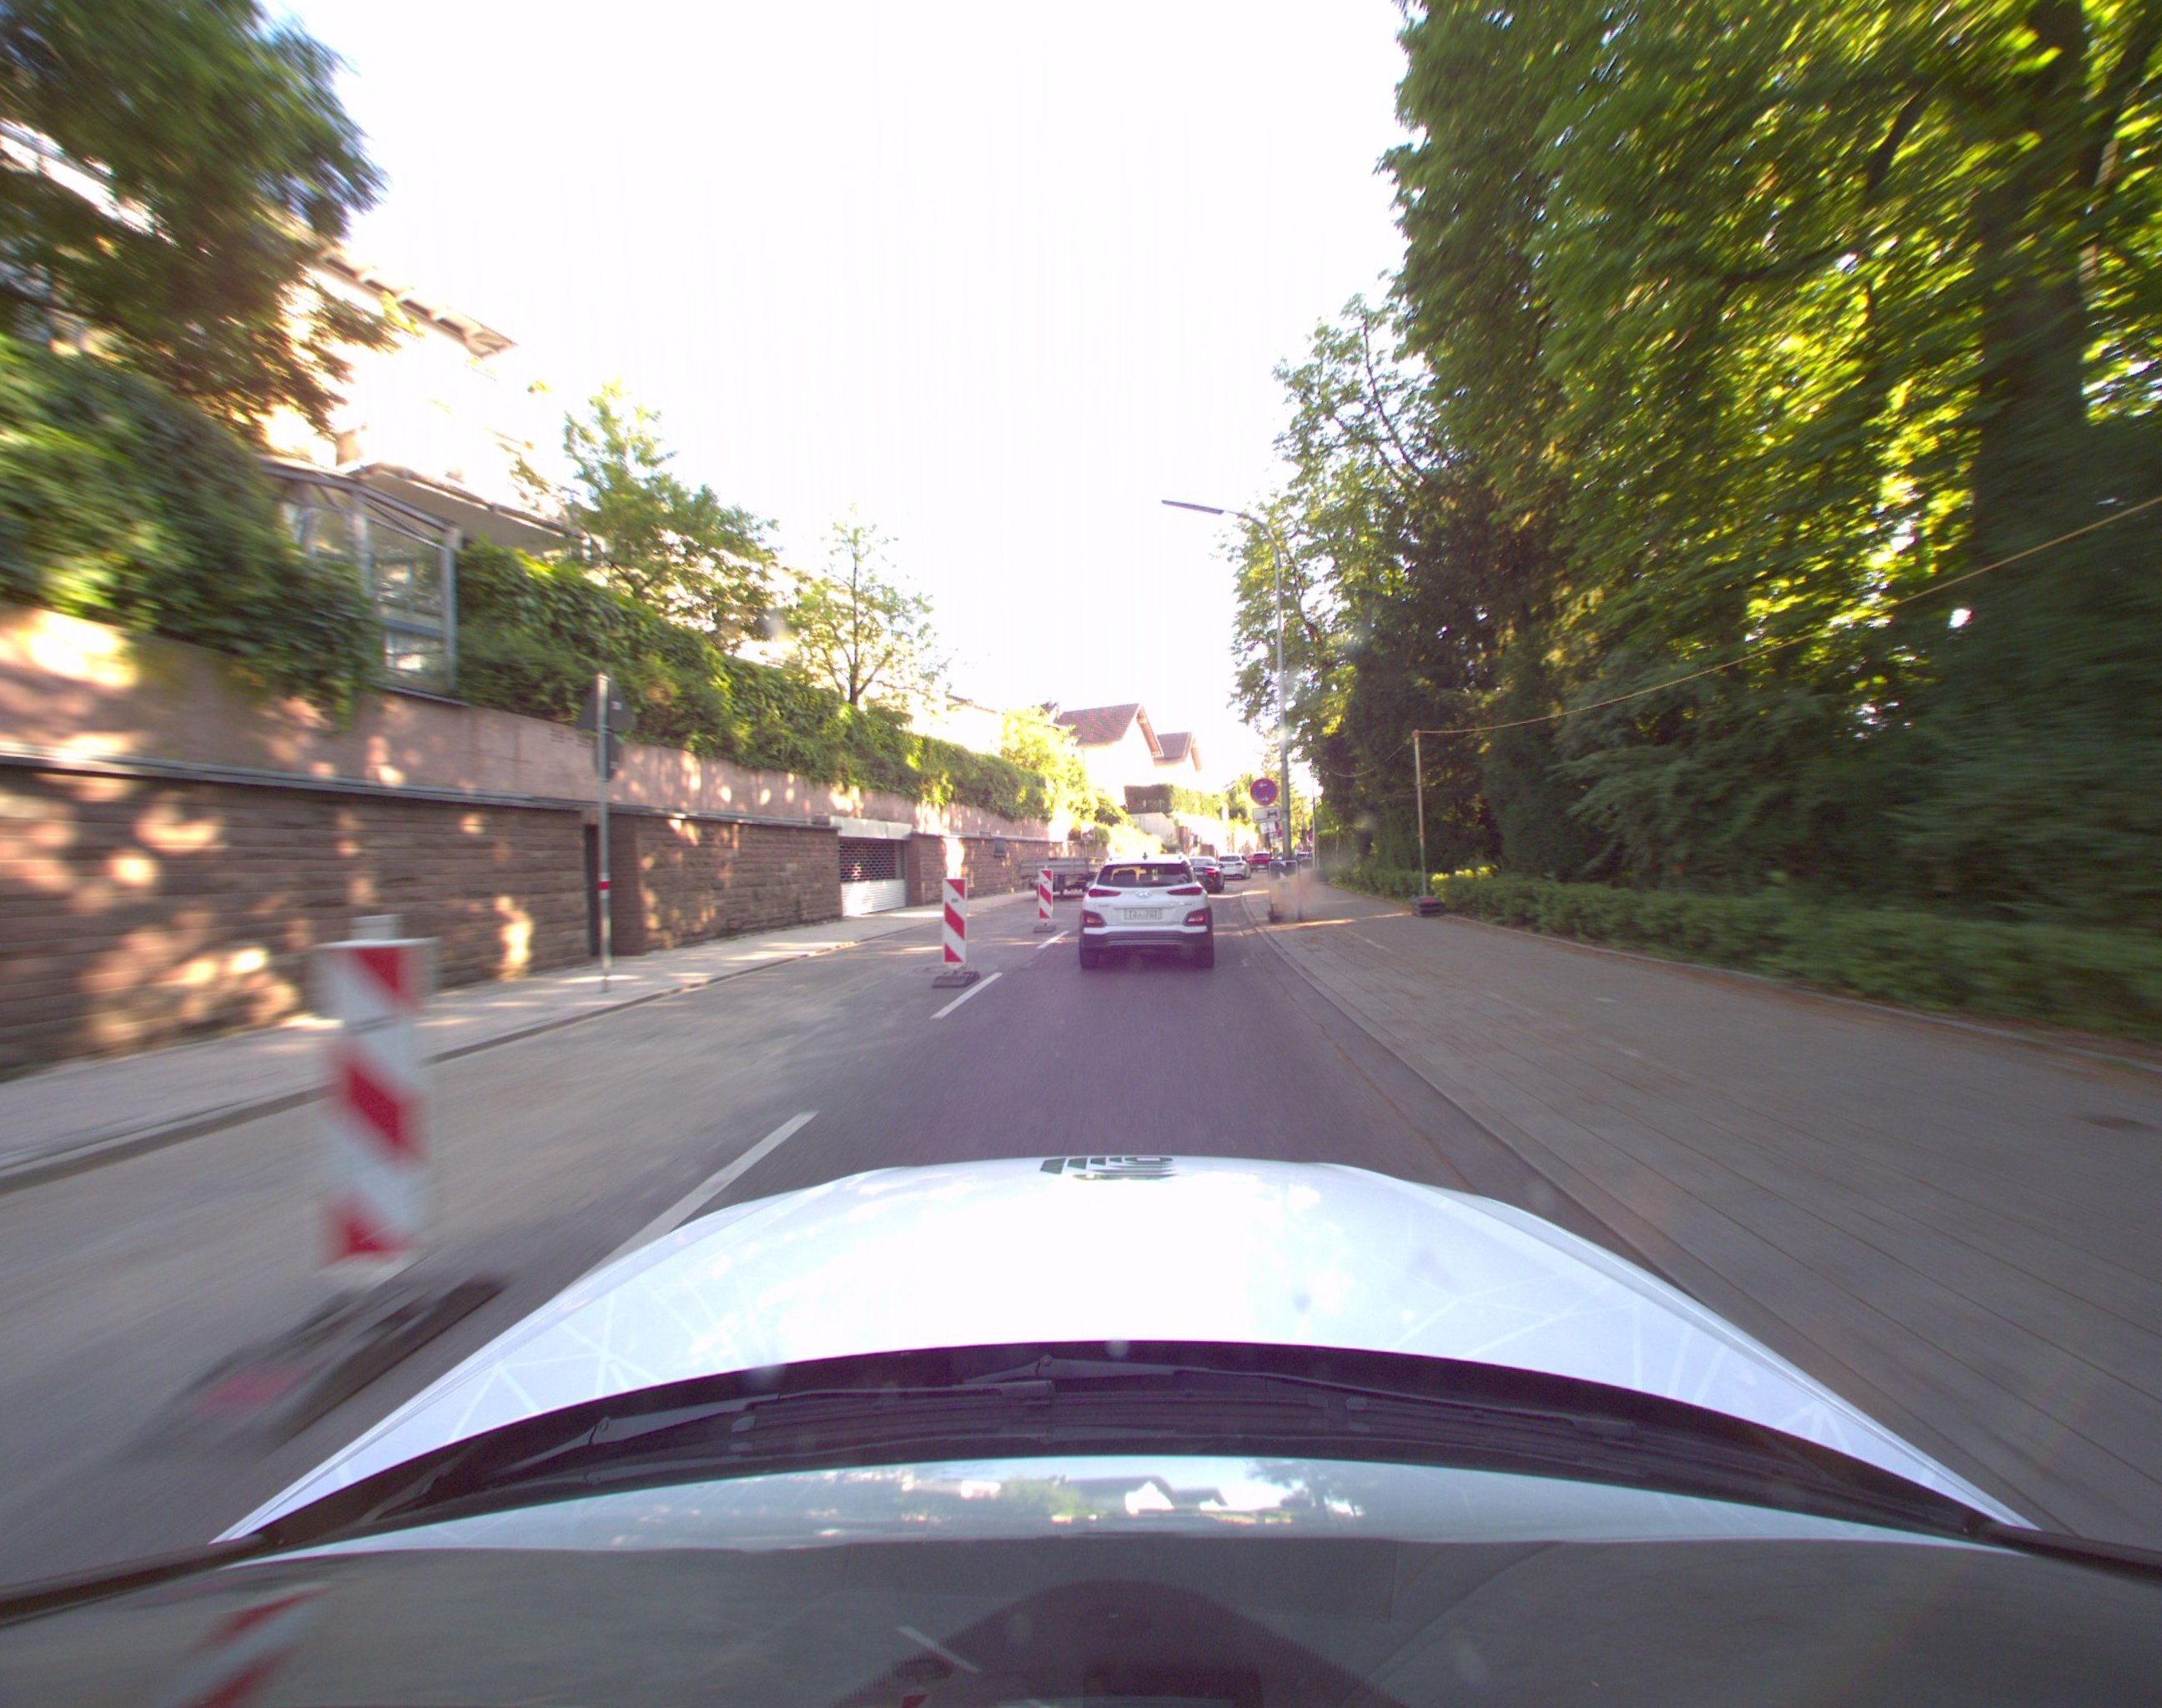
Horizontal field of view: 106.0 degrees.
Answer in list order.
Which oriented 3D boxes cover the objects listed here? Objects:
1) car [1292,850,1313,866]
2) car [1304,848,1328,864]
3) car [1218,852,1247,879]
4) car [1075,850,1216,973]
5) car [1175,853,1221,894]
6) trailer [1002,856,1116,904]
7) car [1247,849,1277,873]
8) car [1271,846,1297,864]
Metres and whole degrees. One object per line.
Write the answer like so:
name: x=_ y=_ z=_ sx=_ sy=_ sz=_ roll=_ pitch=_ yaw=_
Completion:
car: x=24.511 y=0.451 z=90.044 sx=1.678 sy=1.504 sz=3.651 roll=-6 pitch=-1 yaw=23
car: x=22.796 y=0.204 z=78.856 sx=1.778 sy=1.441 sz=4.022 roll=-3 pitch=-1 yaw=22
car: x=8.952 y=0.654 z=47.938 sx=1.560 sy=1.477 sz=3.559 roll=-2 pitch=0 yaw=12
car: x=1.031 y=0.736 z=12.380 sx=1.763 sy=1.542 sz=4.007 roll=-1 pitch=0 yaw=6
car: x=4.821 y=0.758 z=33.273 sx=1.501 sy=1.533 sz=3.560 roll=-3 pitch=0 yaw=13
trailer: x=-0.575 y=0.867 z=29.954 sx=2.623 sy=1.489 sz=7.140 roll=-1 pitch=0 yaw=11
car: x=13.989 y=0.519 z=62.887 sx=1.680 sy=1.533 sz=3.901 roll=-6 pitch=-1 yaw=19
car: x=19.418 y=0.098 z=77.786 sx=1.679 sy=1.447 sz=3.903 roll=-6 pitch=-1 yaw=22
